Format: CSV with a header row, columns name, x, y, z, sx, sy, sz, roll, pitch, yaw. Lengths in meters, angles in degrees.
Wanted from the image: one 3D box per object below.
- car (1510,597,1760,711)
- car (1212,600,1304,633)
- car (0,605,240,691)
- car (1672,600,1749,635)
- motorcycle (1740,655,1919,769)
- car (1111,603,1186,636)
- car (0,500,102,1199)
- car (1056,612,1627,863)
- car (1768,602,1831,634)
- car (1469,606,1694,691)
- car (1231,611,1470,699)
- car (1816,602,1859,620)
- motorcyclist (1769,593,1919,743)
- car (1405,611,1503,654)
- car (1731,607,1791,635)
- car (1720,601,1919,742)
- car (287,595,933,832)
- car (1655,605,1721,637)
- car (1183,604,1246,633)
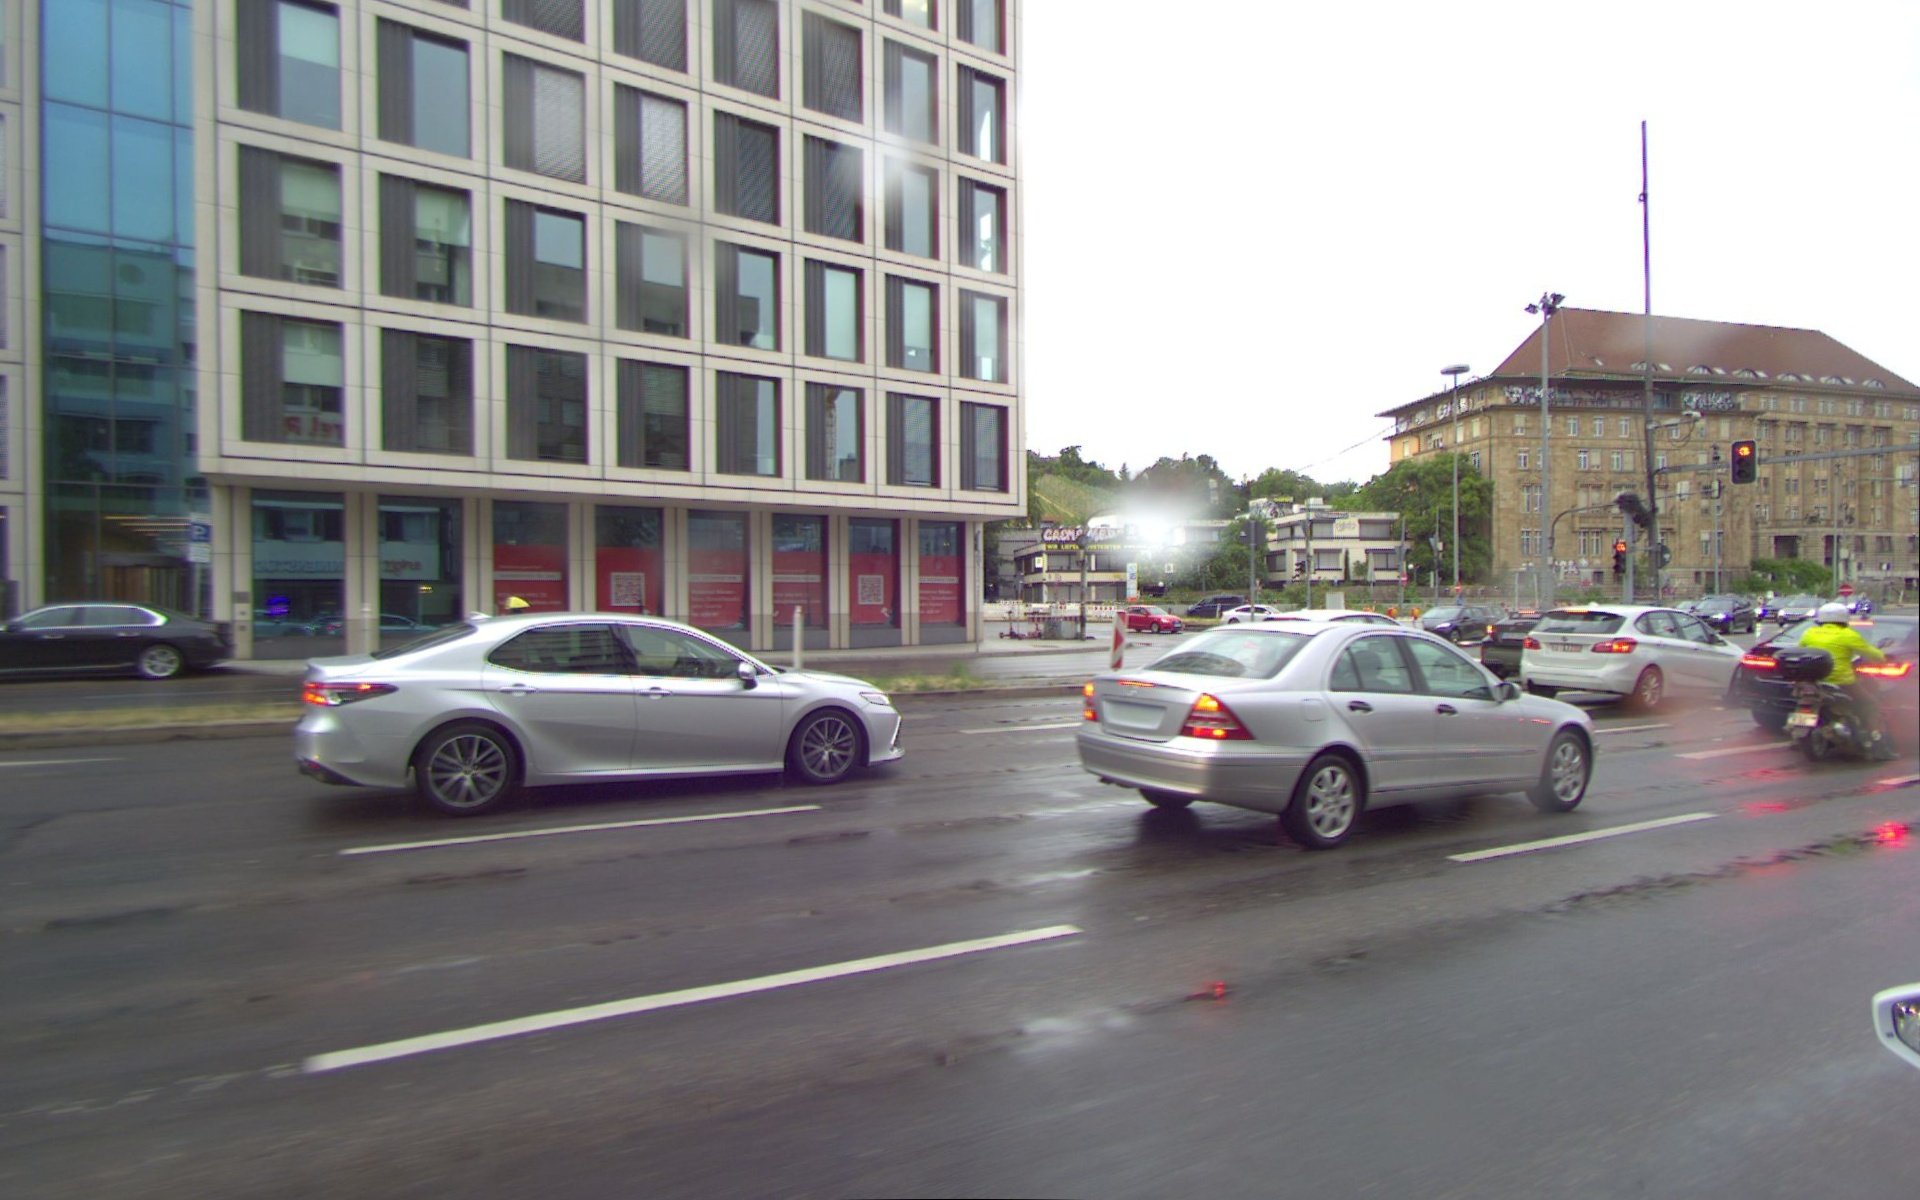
name,x,y,z,sx,sy,sz,roll,pitch,yaw
car,10.944,0.819,16.252,3.950,1.637,1.726,1,0,-28
car,16.149,0.897,54.562,4.329,1.684,1.990,1,0,40
car,-17.519,0.931,19.974,5.131,1.590,1.687,1,-2,-35
car,35.349,0.837,47.293,4.036,1.595,1.789,1,0,-36
motorcycle,9.287,1.128,10.628,2.269,1.002,0.936,1,0,-33
car,9.877,0.996,52.973,1.657,1.617,3.965,1,0,-32
car,-3.447,0.620,0.619,4.121,1.683,1.800,1,0,-30
car,3.002,0.849,7.649,4.331,1.422,1.724,1,0,-30
car,44.825,0.969,53.589,3.962,1.595,1.686,1,0,-36
car,12.741,0.971,20.636,4.009,1.621,1.782,1,0,-18
car,6.907,0.925,17.736,3.942,1.391,1.777,1,0,-27
car,64.878,0.837,74.268,3.297,1.277,1.725,1,0,-36
motorcyclist,9.415,0.683,10.695,1.088,1.495,0.936,1,0,-33
car,18.856,1.235,38.330,3.835,1.539,1.687,1,-2,-35
car,45.487,1.211,57.037,3.518,1.539,1.687,1,-2,-34
car,12.159,0.827,12.928,4.939,1.535,1.880,1,0,-28
car,-2.747,0.782,8.511,4.744,1.541,1.822,1,0,-30
car,38.082,1.090,52.514,3.962,1.595,1.686,1,0,-36
car,19.179,1.402,75.724,4.159,2.040,1.992,1,0,38
